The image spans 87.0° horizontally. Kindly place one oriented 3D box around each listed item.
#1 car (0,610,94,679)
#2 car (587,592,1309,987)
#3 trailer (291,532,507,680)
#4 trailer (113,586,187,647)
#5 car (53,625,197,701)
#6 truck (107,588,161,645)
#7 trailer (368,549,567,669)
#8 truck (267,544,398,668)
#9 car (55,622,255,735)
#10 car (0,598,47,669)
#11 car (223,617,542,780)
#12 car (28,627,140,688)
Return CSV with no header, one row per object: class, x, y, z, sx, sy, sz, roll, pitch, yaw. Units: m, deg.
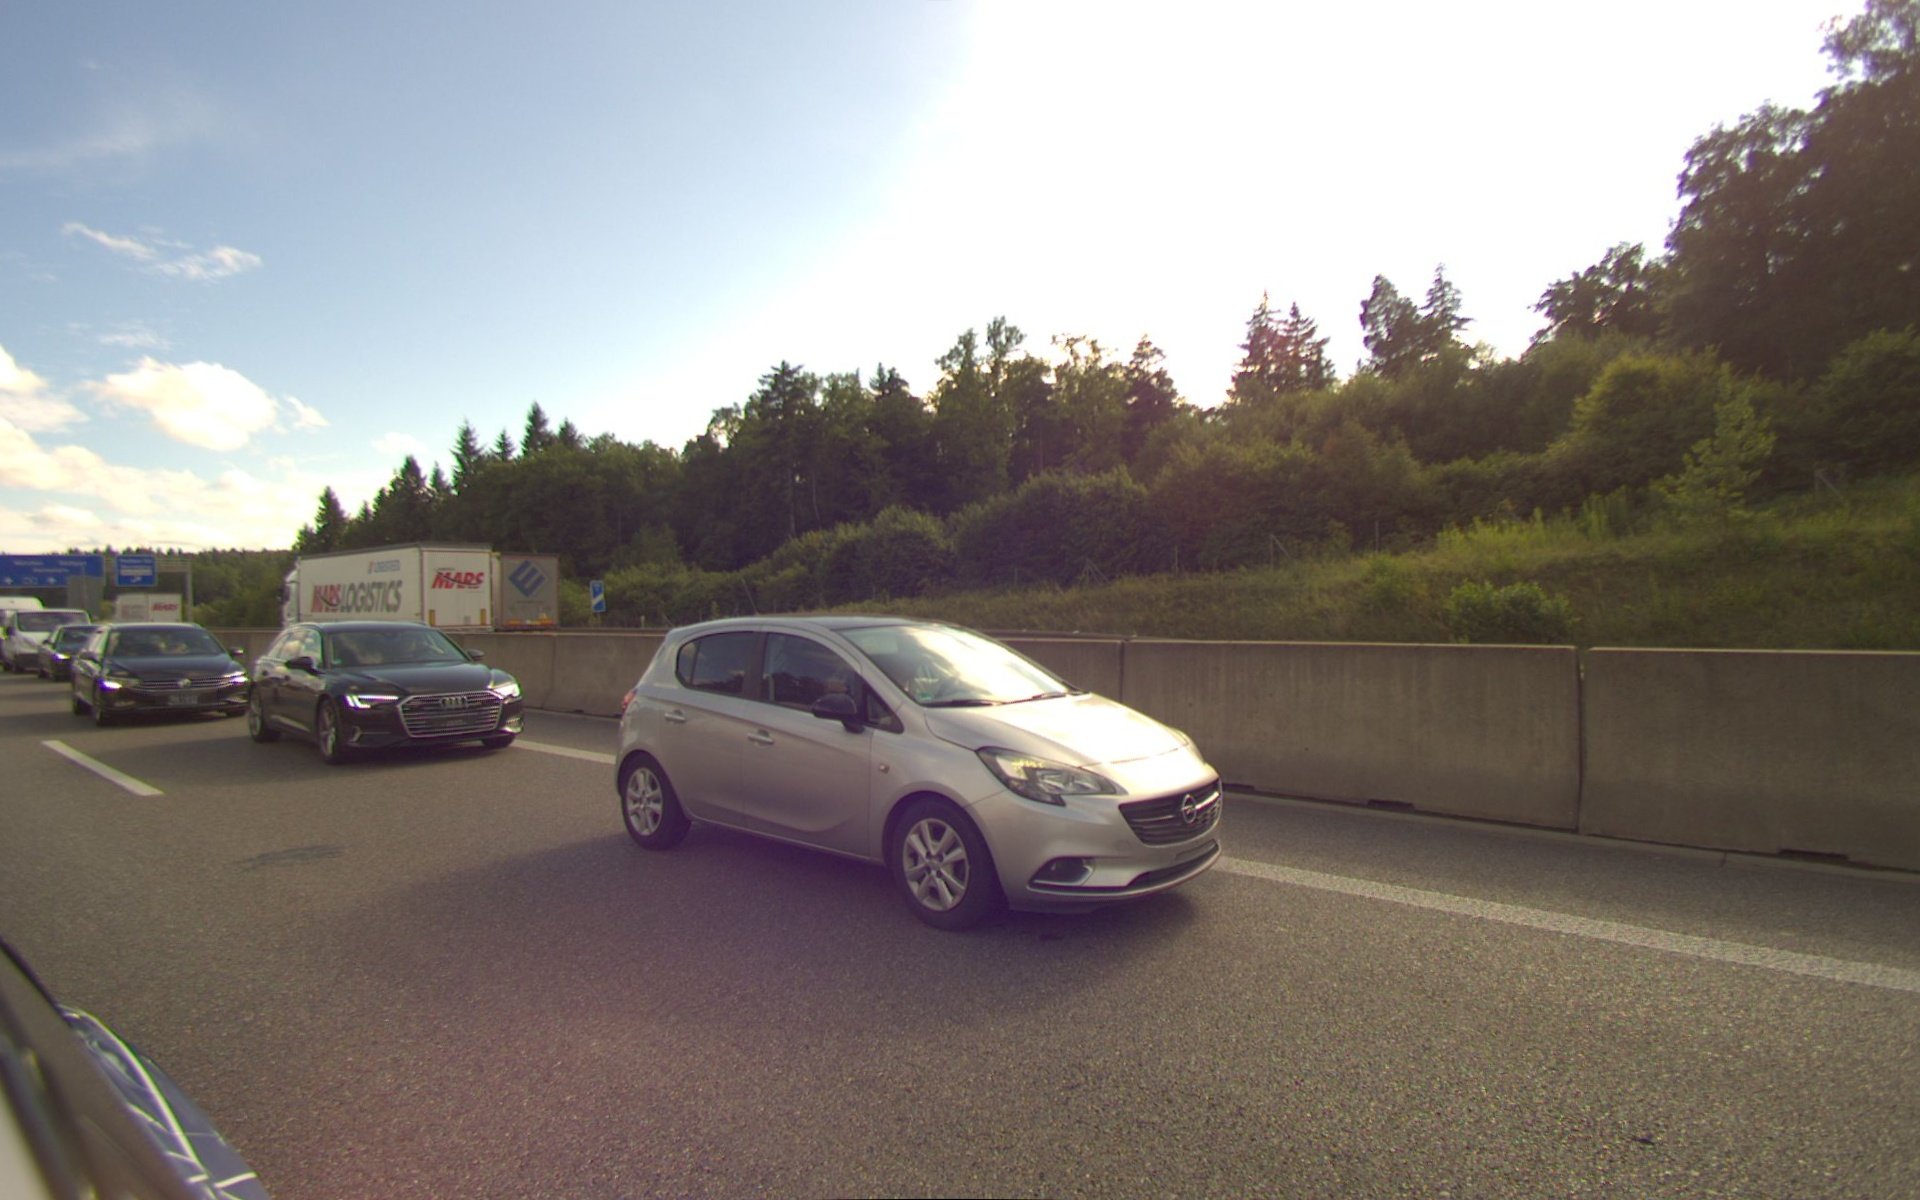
car,-28.889,1.341,31.834,4.847,1.980,1.922,-2,-1,42
car,-0.325,0.764,5.799,4.039,1.477,1.728,-2,-2,42
trailer,-22.961,0.274,40.775,13.828,5.112,3.056,-1,0,41
trailer,-74.825,1.473,93.328,13.829,5.320,3.010,-1,0,41
car,-18.378,1.301,22.191,4.665,1.442,1.785,-2,-1,42
truck,-79.823,1.557,97.760,6.880,5.292,3.007,-1,0,41
trailer,-23.303,0.432,47.093,14.648,4.866,2.896,-1,0,41
truck,-28.258,0.290,45.435,7.138,5.139,3.056,-1,0,41
car,-12.658,1.105,15.803,4.570,1.489,1.890,-2,-1,44
car,-37.096,1.297,39.138,5.860,2.592,2.027,-2,-2,42
car,-6.873,0.979,11.775,4.851,1.483,1.862,-2,-1,43
car,-23.222,1.472,26.785,3.993,1.442,1.785,-2,-1,42
